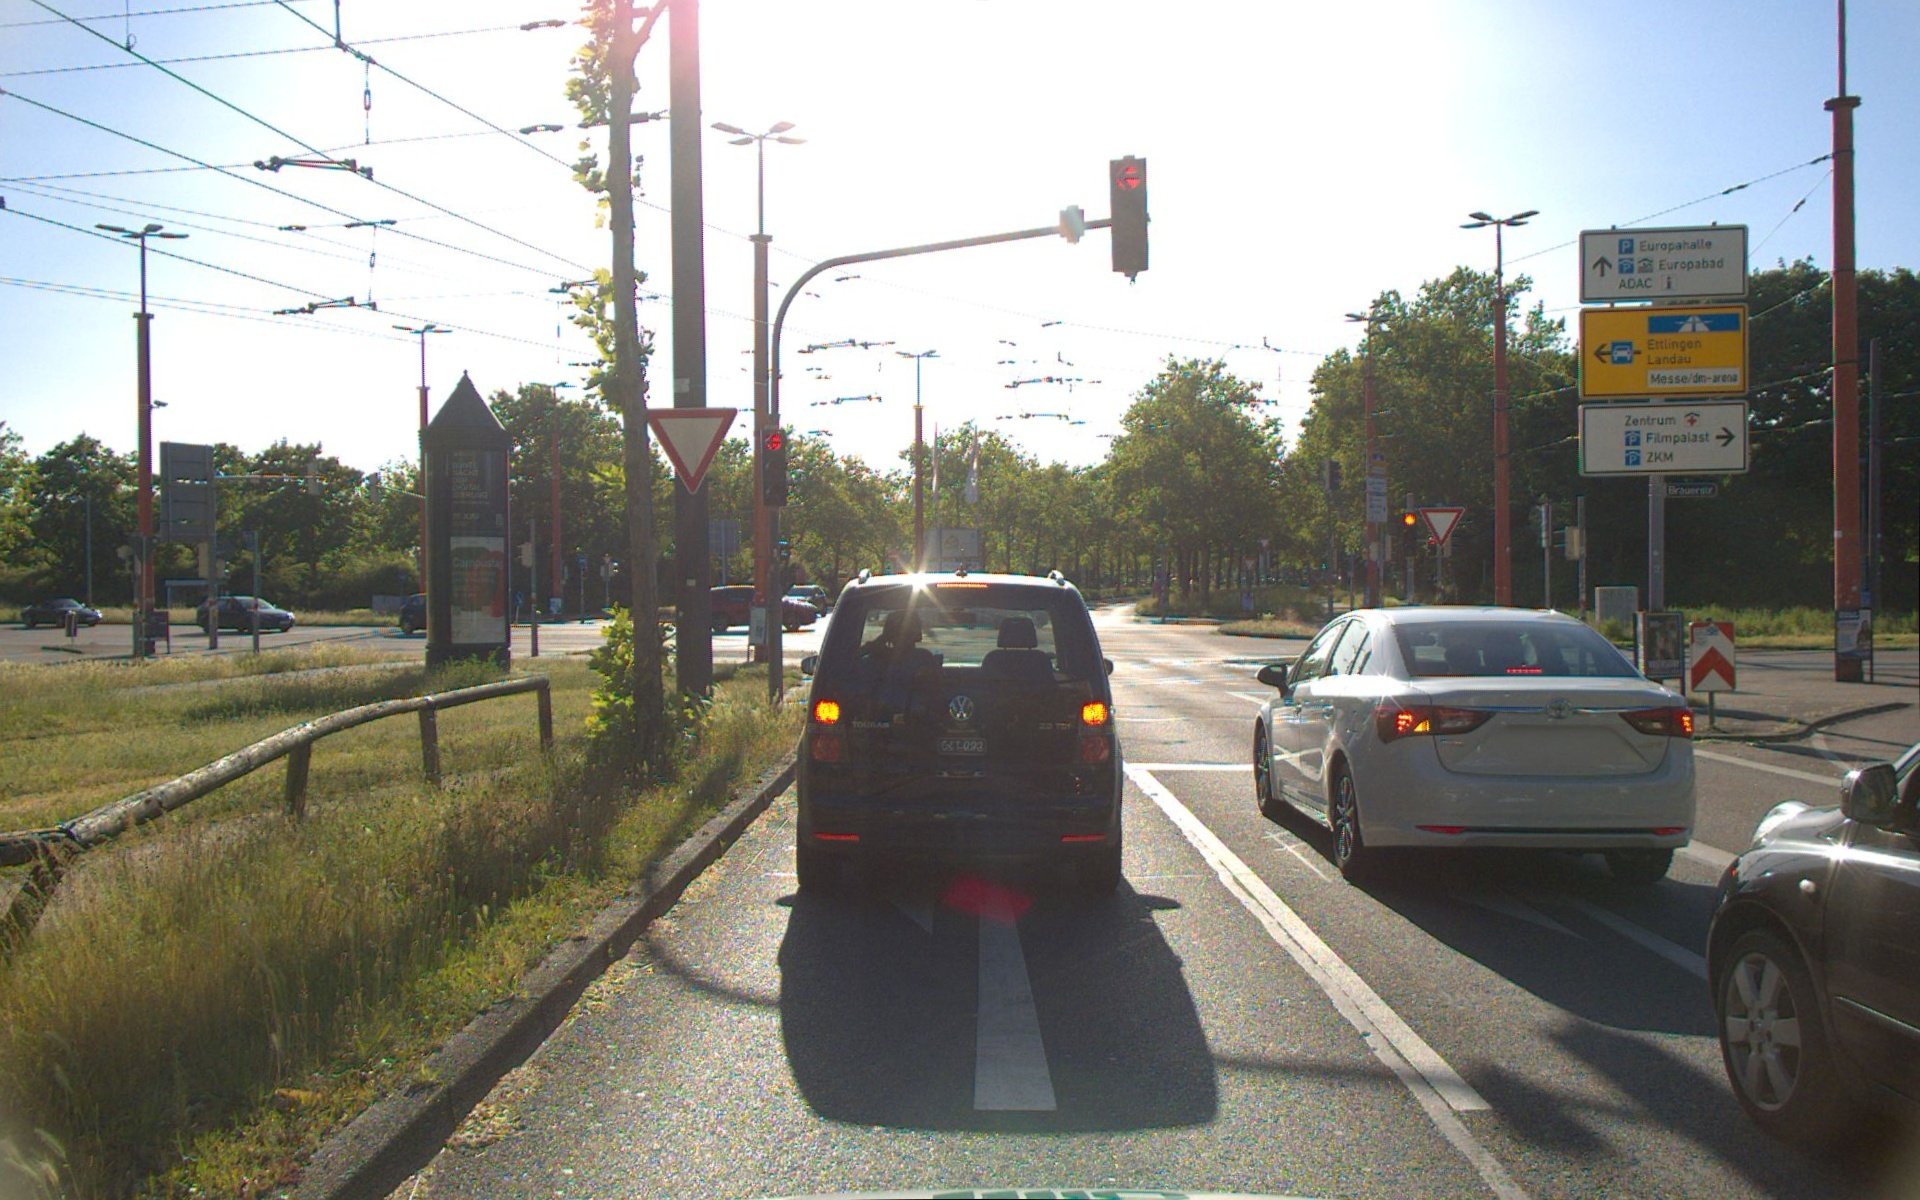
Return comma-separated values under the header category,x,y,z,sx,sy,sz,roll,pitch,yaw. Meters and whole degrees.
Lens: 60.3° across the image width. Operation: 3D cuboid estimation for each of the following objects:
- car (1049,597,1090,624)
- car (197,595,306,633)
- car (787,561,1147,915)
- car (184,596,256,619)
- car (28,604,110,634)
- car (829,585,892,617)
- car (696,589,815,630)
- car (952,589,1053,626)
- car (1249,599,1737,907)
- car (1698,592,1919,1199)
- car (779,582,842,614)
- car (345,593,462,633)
category,x,y,z,sx,sy,sz,roll,pitch,yaw
car,6.290,0.576,94.564,1.867,1.489,4.226,0,0,11
car,-28.946,0.562,67.567,4.145,1.489,1.912,0,0,28
car,0.006,0.645,9.854,1.702,1.670,3.999,0,0,-1
car,-43.479,0.460,97.178,3.723,1.333,1.664,0,0,19
car,-41.086,0.857,76.225,3.734,1.333,1.738,0,0,32
car,-5.485,0.029,91.542,1.951,1.714,4.831,0,0,17
car,-7.679,0.341,61.924,4.282,1.489,1.909,0,0,-12
car,1.772,0.287,68.208,1.881,1.489,4.194,0,0,44
car,2.948,0.742,10.098,1.679,1.480,4.144,0,0,0
car,3.127,0.745,3.498,1.525,1.532,3.515,0,0,-1
car,-8.393,-0.112,93.221,1.951,1.714,4.832,0,0,16
car,-21.512,0.484,63.905,3.959,1.489,1.915,0,0,20
